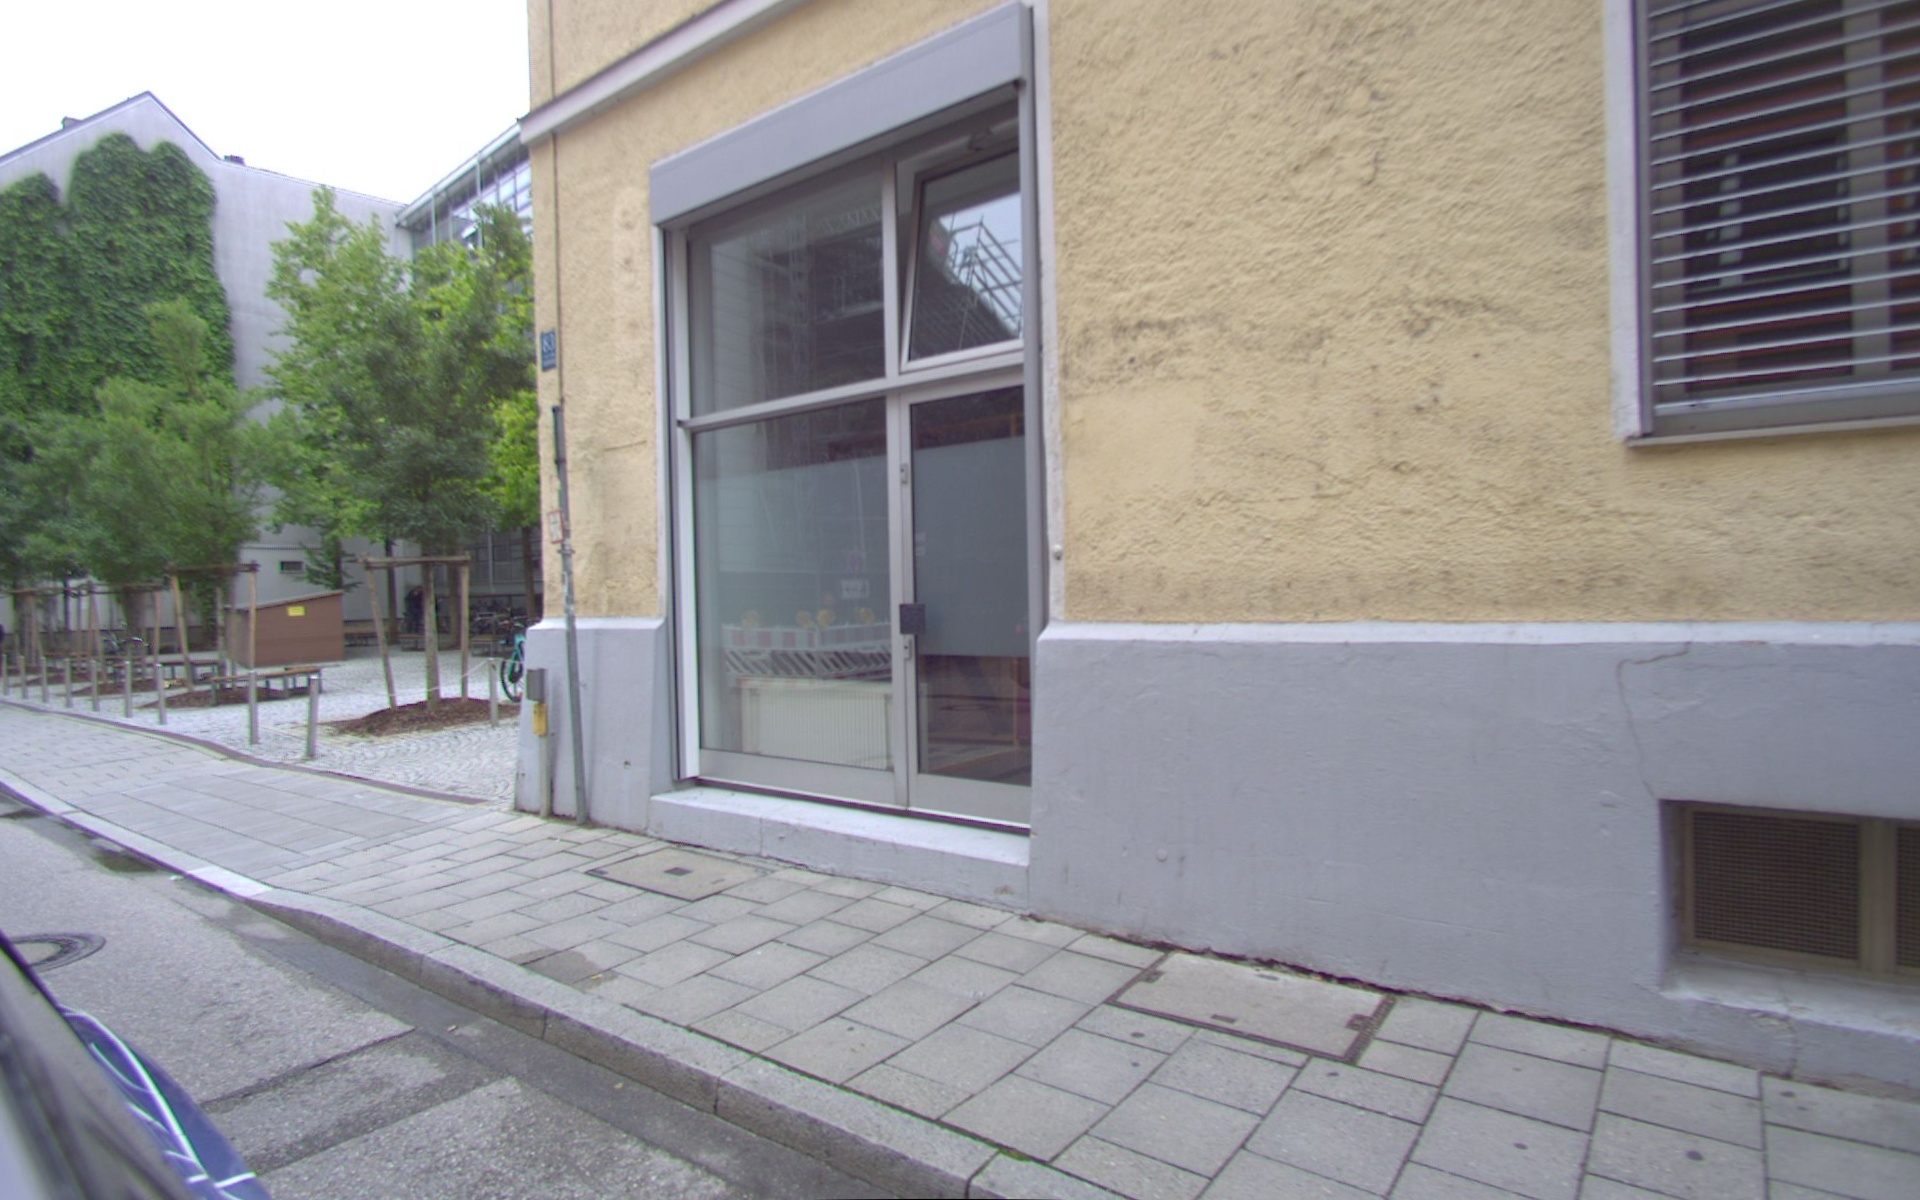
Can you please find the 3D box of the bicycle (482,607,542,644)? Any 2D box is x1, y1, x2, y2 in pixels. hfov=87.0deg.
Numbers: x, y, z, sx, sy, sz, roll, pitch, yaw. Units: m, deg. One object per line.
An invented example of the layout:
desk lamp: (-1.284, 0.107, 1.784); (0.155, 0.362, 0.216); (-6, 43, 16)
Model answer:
bicycle: (-13.829, 0.781, 31.290); (0.628, 1.068, 1.556); (-2, 1, 40)

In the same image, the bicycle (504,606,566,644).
bicycle: (-12.665, 0.737, 30.200); (0.628, 1.068, 1.556); (-2, 1, 40)

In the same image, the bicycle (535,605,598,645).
bicycle: (-11.258, 0.708, 28.993); (0.628, 1.068, 1.556); (-2, 1, 40)

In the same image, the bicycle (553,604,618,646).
bicycle: (-10.366, 0.689, 28.080); (0.628, 1.068, 1.556); (-2, 1, 40)

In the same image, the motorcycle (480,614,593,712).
motorcycle: (-5.594, 0.785, 13.315); (1.981, 1.181, 0.570); (-1, 2, 43)

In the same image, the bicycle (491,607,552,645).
bicycle: (-13.318, 0.774, 30.779); (0.628, 1.068, 1.556); (-2, 1, 40)

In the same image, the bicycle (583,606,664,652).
bicycle: (-8.699, 0.723, 26.214); (0.705, 1.066, 1.877); (-1, 1, 41)

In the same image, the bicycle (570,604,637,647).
bicycle: (-9.580, 0.679, 27.236); (0.628, 1.068, 1.556); (-2, 1, 40)

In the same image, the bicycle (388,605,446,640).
bicycle: (-19.399, 0.801, 36.163); (0.603, 1.151, 1.702); (-1, 1, 43)

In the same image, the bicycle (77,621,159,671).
bicycle: (-22.117, 1.210, 26.574); (1.983, 1.217, 0.709); (-1, 2, 20)

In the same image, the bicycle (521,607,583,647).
bicycle: (-11.865, 0.768, 29.455); (0.628, 1.068, 1.556); (-2, 1, 40)

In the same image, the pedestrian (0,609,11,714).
pedestrian: (-15.806, 0.996, 16.313); (0.996, 1.672, 0.547); (-1, 1, 37)
